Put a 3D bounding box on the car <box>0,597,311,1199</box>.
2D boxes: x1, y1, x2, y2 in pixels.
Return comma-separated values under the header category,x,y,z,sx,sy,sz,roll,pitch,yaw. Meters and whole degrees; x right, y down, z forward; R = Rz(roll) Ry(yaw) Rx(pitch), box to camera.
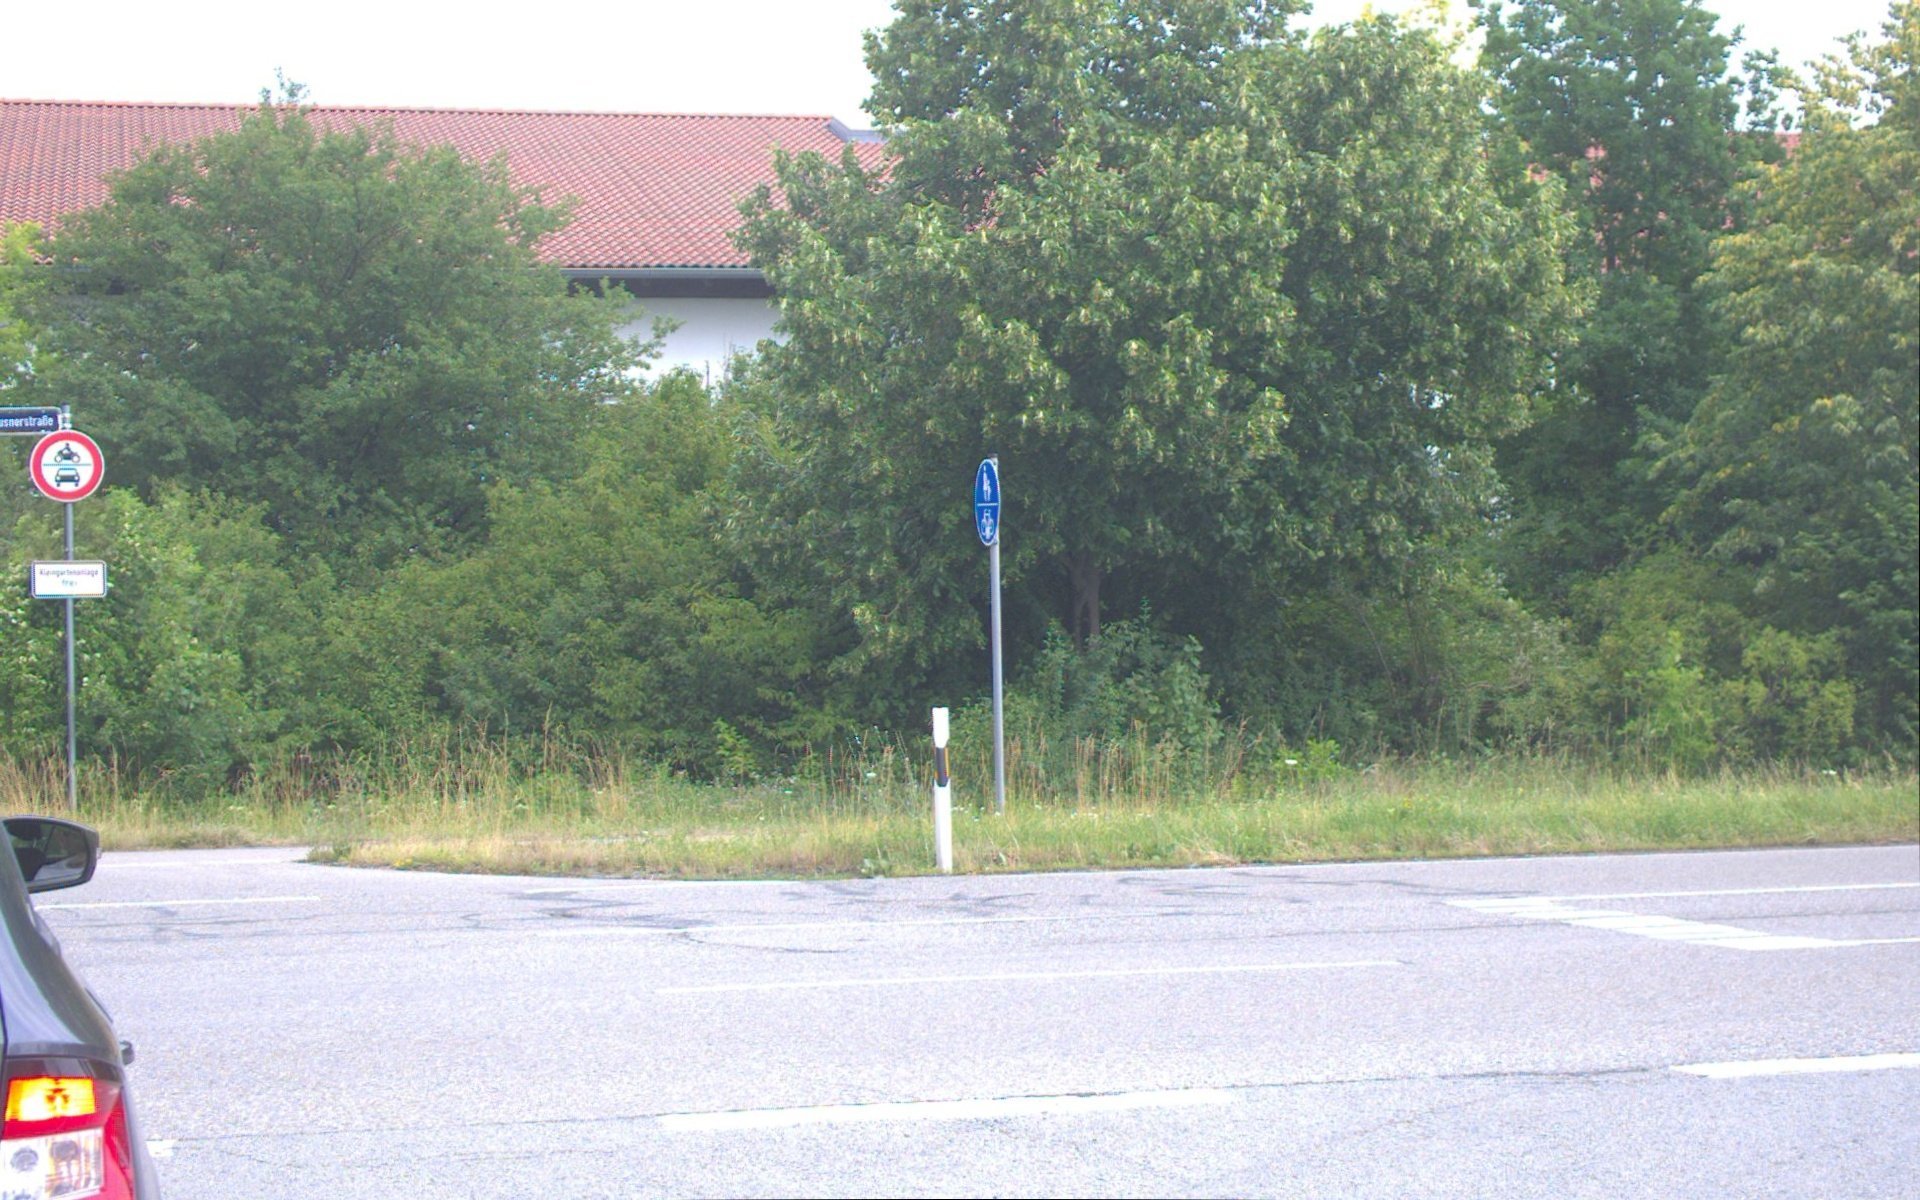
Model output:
category,x,y,z,sx,sy,sz,roll,pitch,yaw
car,-2.162,0.723,5.094,1.713,1.442,4.118,0,0,-20
